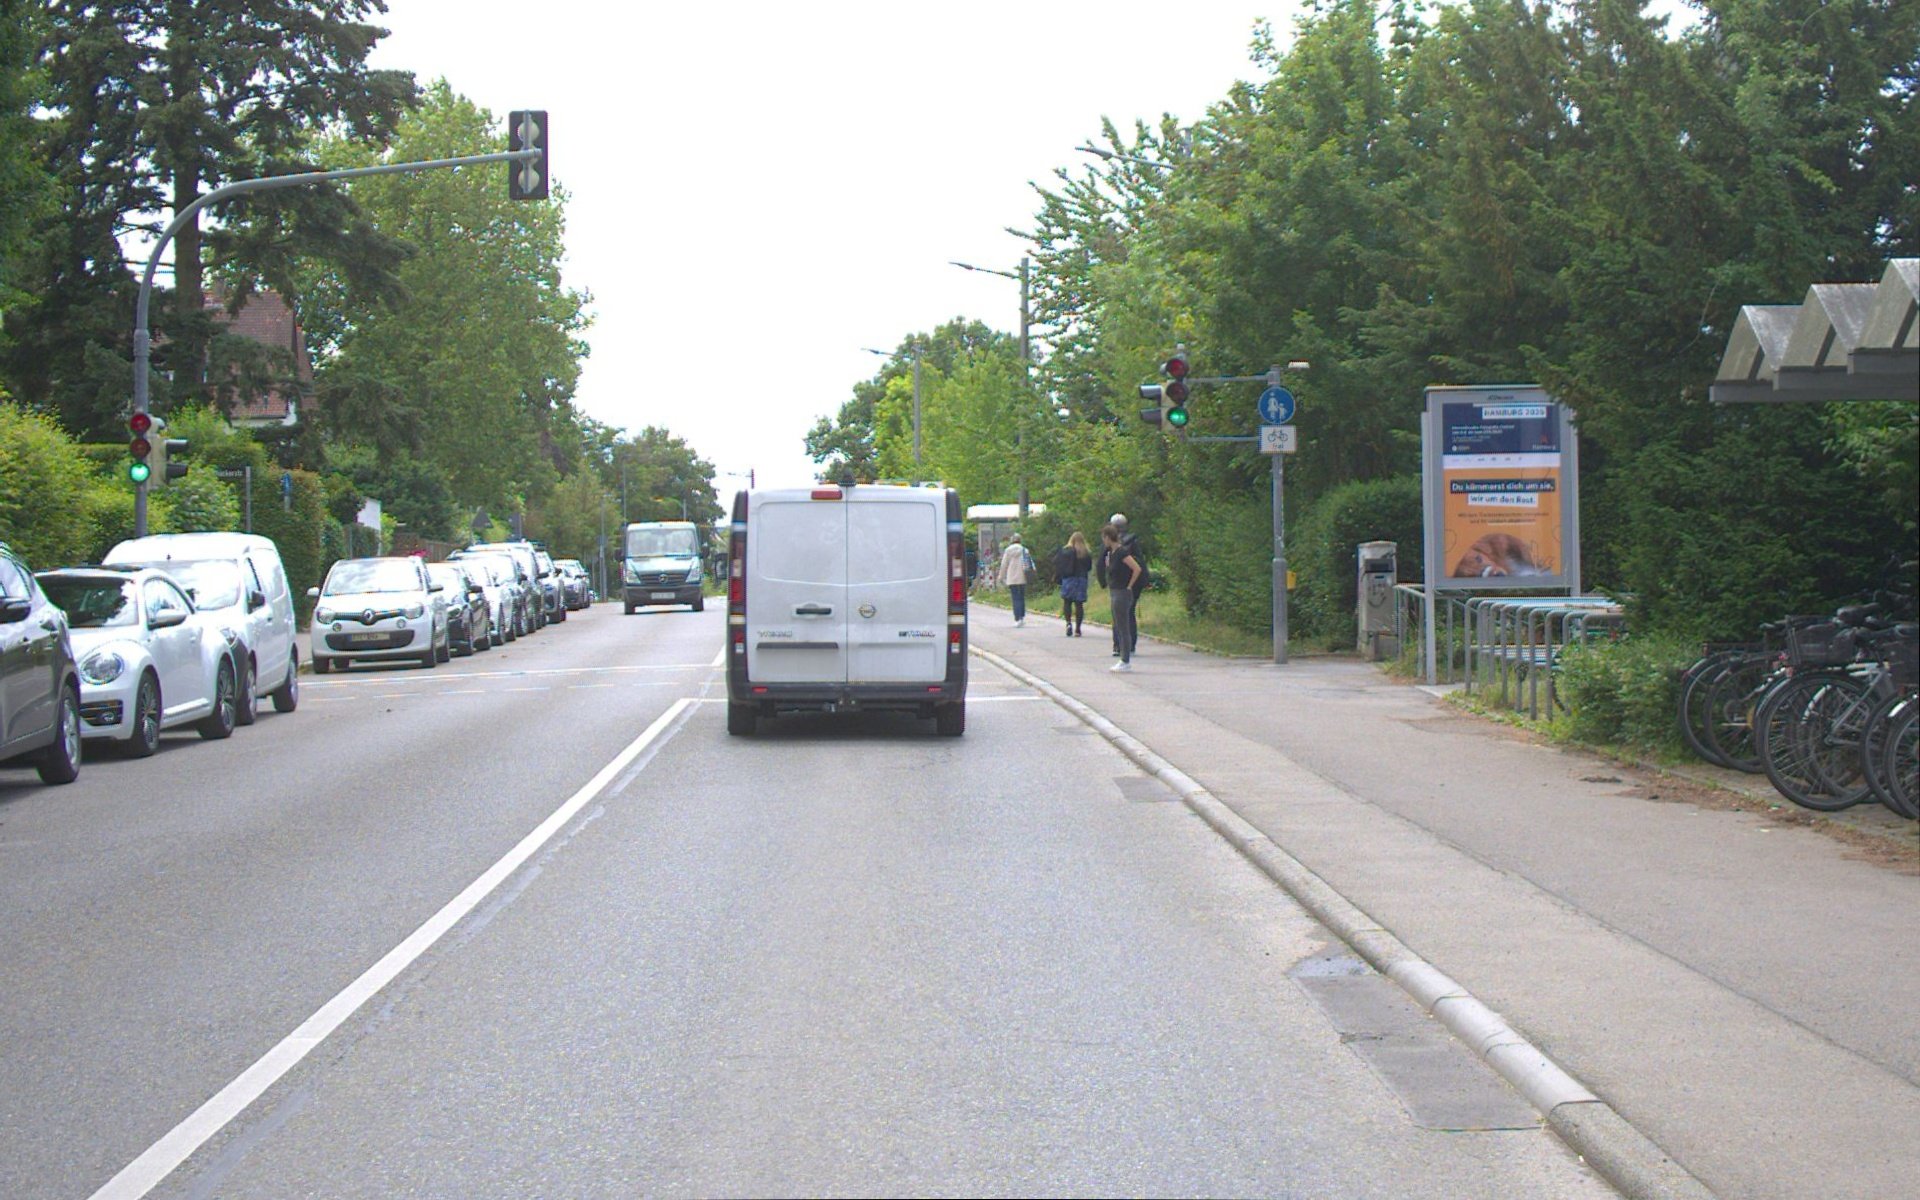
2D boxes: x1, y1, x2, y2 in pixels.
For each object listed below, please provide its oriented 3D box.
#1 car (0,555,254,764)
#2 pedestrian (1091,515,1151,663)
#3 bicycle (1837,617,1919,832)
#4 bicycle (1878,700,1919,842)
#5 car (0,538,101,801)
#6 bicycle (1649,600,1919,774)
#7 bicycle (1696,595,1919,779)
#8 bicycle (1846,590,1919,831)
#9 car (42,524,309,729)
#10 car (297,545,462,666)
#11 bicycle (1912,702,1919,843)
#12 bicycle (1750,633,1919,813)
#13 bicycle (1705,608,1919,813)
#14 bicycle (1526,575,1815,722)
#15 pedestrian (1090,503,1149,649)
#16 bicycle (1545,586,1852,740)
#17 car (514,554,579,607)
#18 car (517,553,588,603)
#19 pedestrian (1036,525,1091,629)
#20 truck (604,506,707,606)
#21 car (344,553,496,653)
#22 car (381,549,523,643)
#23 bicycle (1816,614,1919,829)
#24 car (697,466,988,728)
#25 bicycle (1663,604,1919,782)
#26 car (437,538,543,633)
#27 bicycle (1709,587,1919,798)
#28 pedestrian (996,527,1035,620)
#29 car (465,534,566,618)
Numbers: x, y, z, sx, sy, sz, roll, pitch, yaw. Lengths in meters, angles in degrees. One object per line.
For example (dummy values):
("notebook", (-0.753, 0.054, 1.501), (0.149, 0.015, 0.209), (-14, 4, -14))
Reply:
("car", (-6.985, 0.429, 27.334), (1.705, 1.448, 4.357), (-3, 1, 1))
("pedestrian", (1.822, -0.123, 39.070), (0.647, 1.658, 0.708), (1, 0, 2))
("bicycle", (5.629, 0.571, 17.453), (2.200, 1.044, 0.451), (-3, 1, -4))
("bicycle", (5.121, 0.792, 15.997), (1.676, 0.637, 0.332), (1, 0, -13))
("car", (-6.831, 0.413, 21.740), (1.896, 1.588, 4.644), (-1, 1, -4))
("bicycle", (5.368, 0.537, 21.320), (2.088, 1.044, 0.451), (1, 0, -5))
("bicycle", (5.343, 0.495, 19.831), (2.090, 1.044, 0.450), (-1, 0, 18))
("bicycle", (5.441, 0.522, 16.599), (2.201, 1.145, 0.451), (0, 0, 3))
("car", (-7.378, 0.190, 32.729), (1.676, 1.752, 4.608), (-2, 1, -3))
("car", (-8.038, 0.048, 47.854), (1.702, 1.538, 3.743), (-2, 1, -2))
("bicycle", (5.346, 0.798, 15.737), (1.981, 0.637, 0.332), (1, 0, -13))
("bicycle", (5.412, 0.666, 18.551), (2.200, 0.935, 0.451), (1, 0, -5))
("bicycle", (5.064, 0.567, 18.071), (2.200, 1.044, 0.451), (0, 0, -4))
("bicycle", (5.452, 0.368, 26.454), (2.088, 1.077, 0.547), (-1, 0, 0))
("pedestrian", (2.087, -0.311, 44.929), (0.745, 1.876, 0.801), (1, 0, 3))
("bicycle", (5.383, 0.455, 25.127), (2.088, 1.044, 0.559), (2, 0, 0))
("car", (-11.878, -0.577, 98.575), (1.651, 1.422, 3.907), (-2, 1, -9))
("car", (-12.239, -0.656, 103.480), (1.867, 1.454, 4.489), (-1, 0, -3))
("pedestrian", (1.655, -0.367, 55.157), (0.840, 1.653, 0.766), (1, 0, 1))
("truck", (-7.720, -1.142, 87.766), (2.189, 2.363, 6.905), (-2, 1, -2))
("car", (-8.330, 0.019, 53.384), (1.742, 1.405, 4.324), (-2, 1, -2))
("car", (-8.678, -0.110, 59.098), (1.805, 1.454, 5.069), (-2, 1, -2))
("bicycle", (5.402, 0.586, 17.025), (2.201, 1.044, 0.451), (-1, 0, 3))
("car", (-1.062, -0.047, 28.172), (2.034, 1.939, 4.994), (1, 1, -6))
("bicycle", (5.343, 0.559, 20.764), (2.088, 1.044, 0.451), (1, 0, -5))
("car", (-8.956, -0.312, 65.746), (1.626, 1.672, 4.584), (-3, 1, -4))
("bicycle", (5.249, 0.501, 19.040), (2.088, 1.146, 0.530), (0, 0, -5))
("pedestrian", (0.998, -0.482, 61.793), (0.686, 1.653, 0.690), (1, 0, 1))
("car", (-10.032, -0.566, 77.816), (1.984, 1.813, 4.708), (-1, 1, -4))
